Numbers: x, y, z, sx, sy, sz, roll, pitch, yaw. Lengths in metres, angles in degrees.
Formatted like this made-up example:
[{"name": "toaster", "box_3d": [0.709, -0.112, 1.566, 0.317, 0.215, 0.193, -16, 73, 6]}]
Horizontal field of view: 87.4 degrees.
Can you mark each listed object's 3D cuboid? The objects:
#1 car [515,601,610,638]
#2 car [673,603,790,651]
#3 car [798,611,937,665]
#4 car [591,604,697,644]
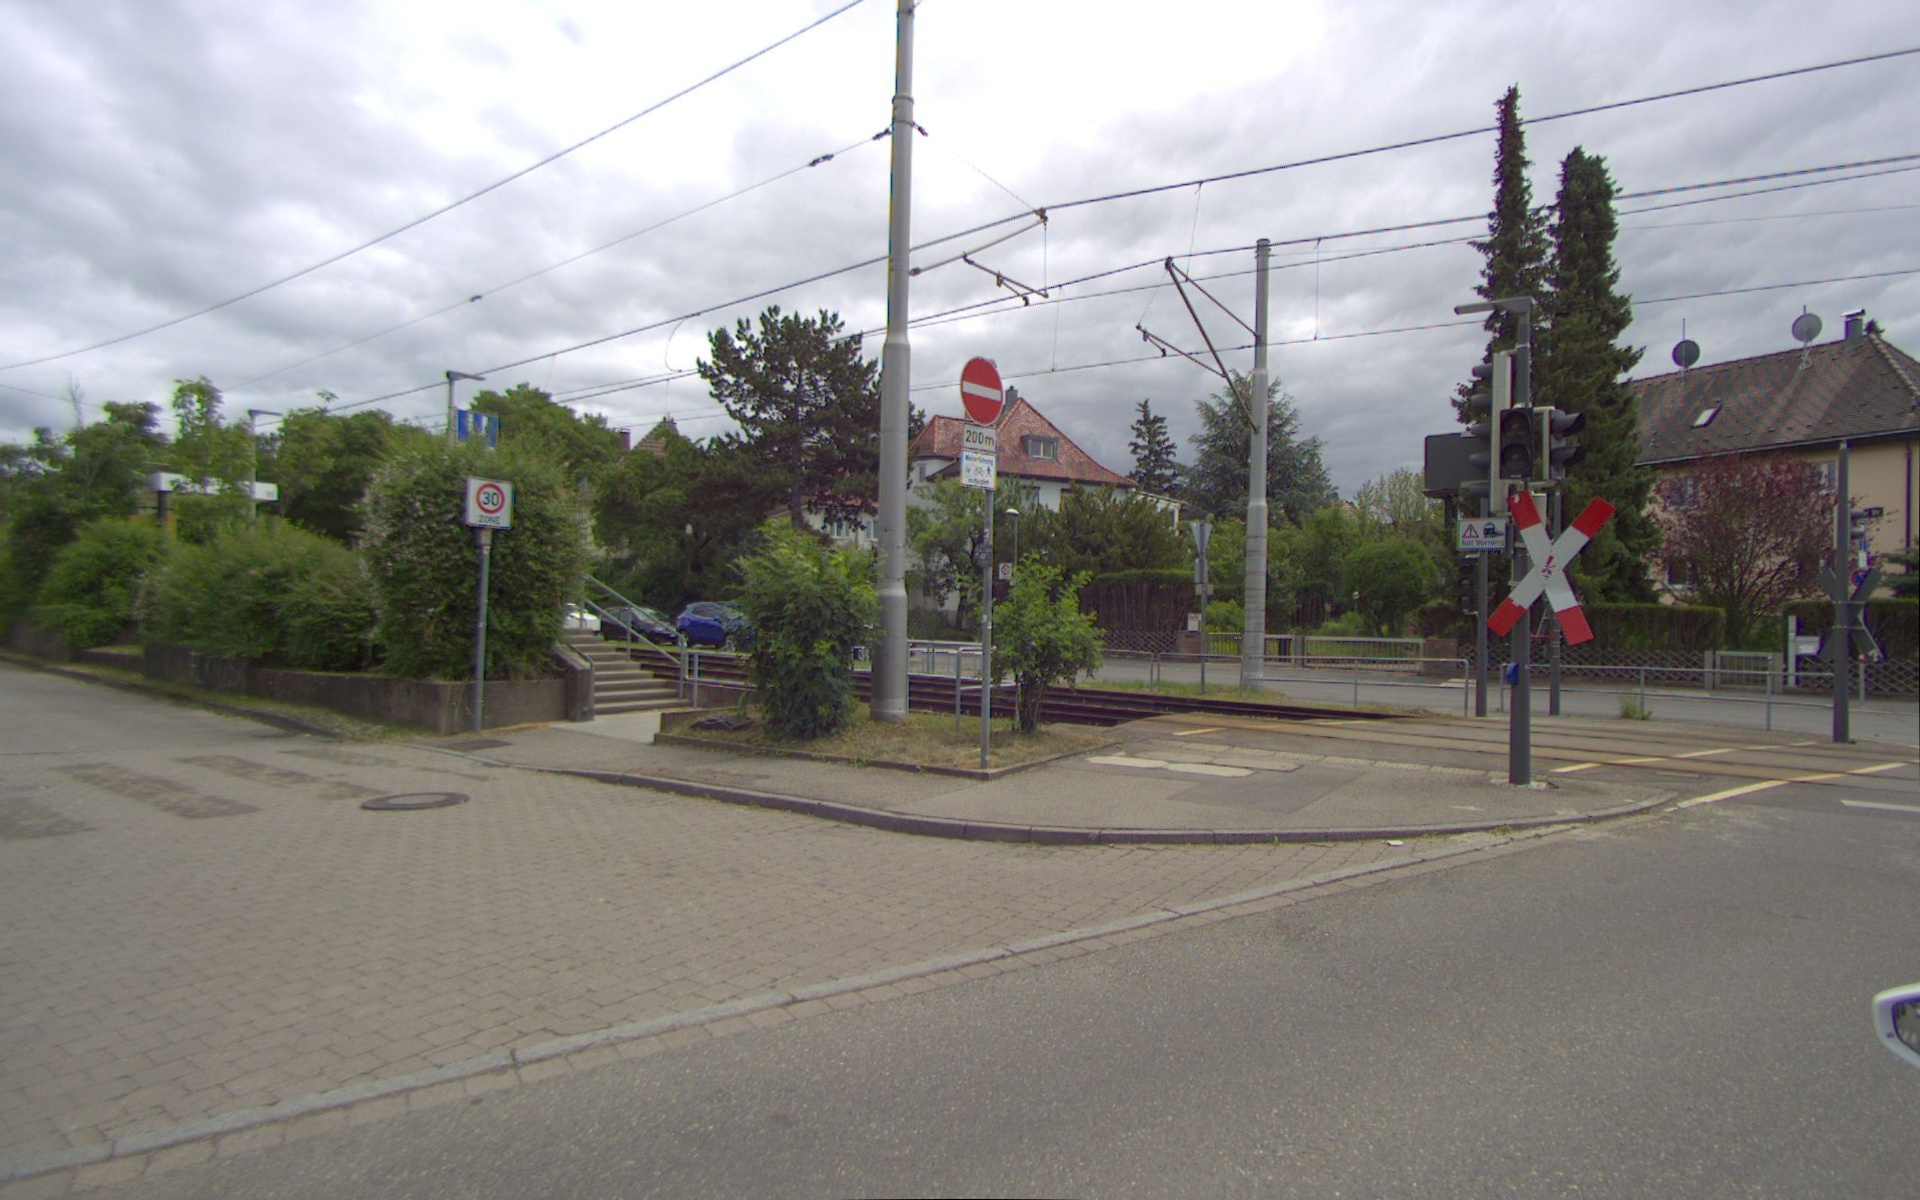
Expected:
[{"name": "car", "box_3d": [-16.413, 0.784, 41.397, 3.936, 1.394, 1.848, 1, 0, 37]}, {"name": "car", "box_3d": [-7.903, 0.897, 34.603, 3.936, 1.500, 1.848, 1, 0, 37]}, {"name": "car", "box_3d": [-2.890, 1.129, 31.099, 4.051, 1.521, 1.817, 1, 0, 35]}, {"name": "car", "box_3d": [-11.825, 0.864, 37.491, 3.936, 1.394, 1.848, 1, 0, 37]}]
